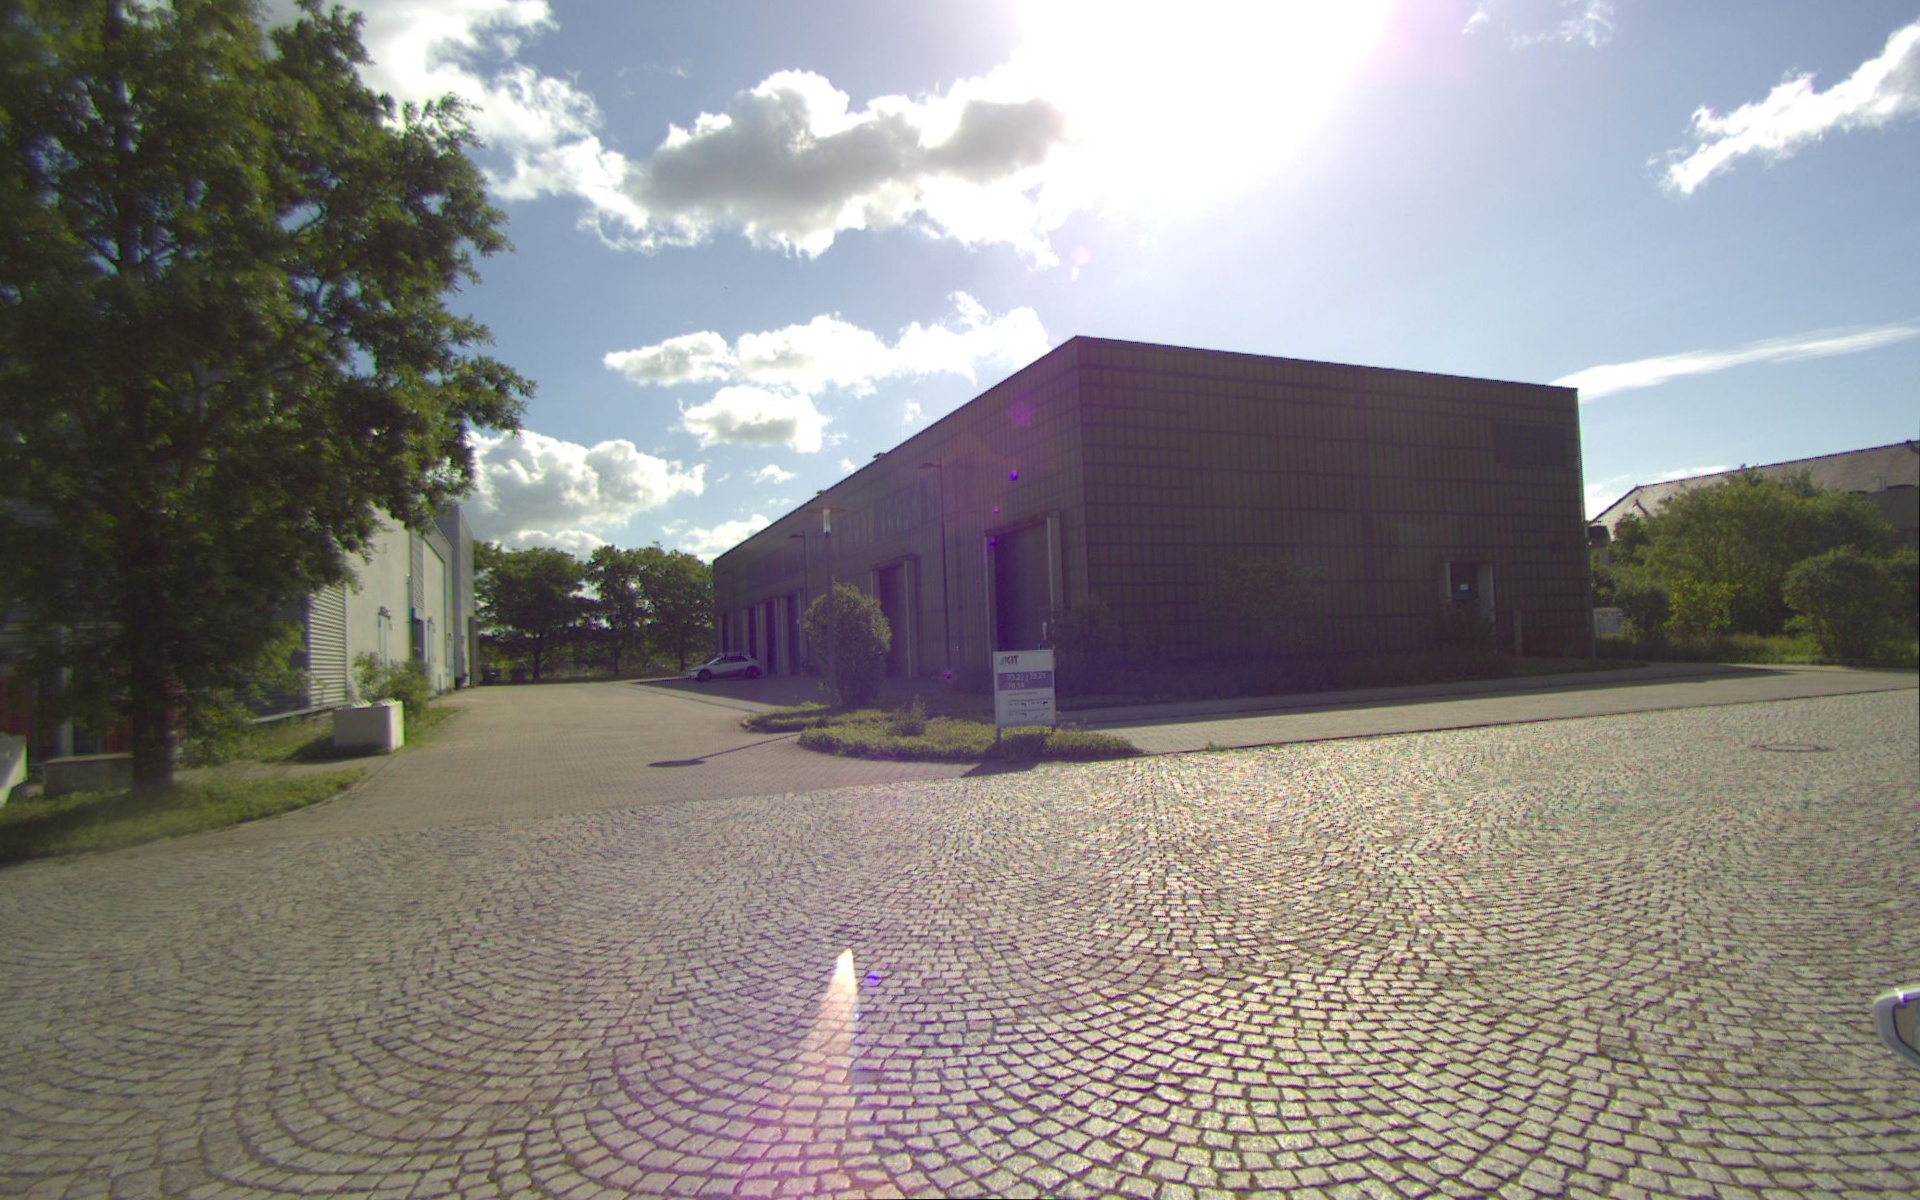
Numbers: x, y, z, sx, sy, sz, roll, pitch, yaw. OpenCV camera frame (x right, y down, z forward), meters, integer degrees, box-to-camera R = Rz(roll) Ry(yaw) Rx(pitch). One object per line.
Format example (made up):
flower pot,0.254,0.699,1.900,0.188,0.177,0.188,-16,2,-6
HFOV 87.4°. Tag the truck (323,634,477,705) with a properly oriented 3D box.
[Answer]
truck,-34.465,4.266,62.166,7.987,3.867,2.637,-2,-3,-23

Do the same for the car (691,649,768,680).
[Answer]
car,-14.758,4.116,64.307,4.516,1.684,1.989,-1,-3,-24
